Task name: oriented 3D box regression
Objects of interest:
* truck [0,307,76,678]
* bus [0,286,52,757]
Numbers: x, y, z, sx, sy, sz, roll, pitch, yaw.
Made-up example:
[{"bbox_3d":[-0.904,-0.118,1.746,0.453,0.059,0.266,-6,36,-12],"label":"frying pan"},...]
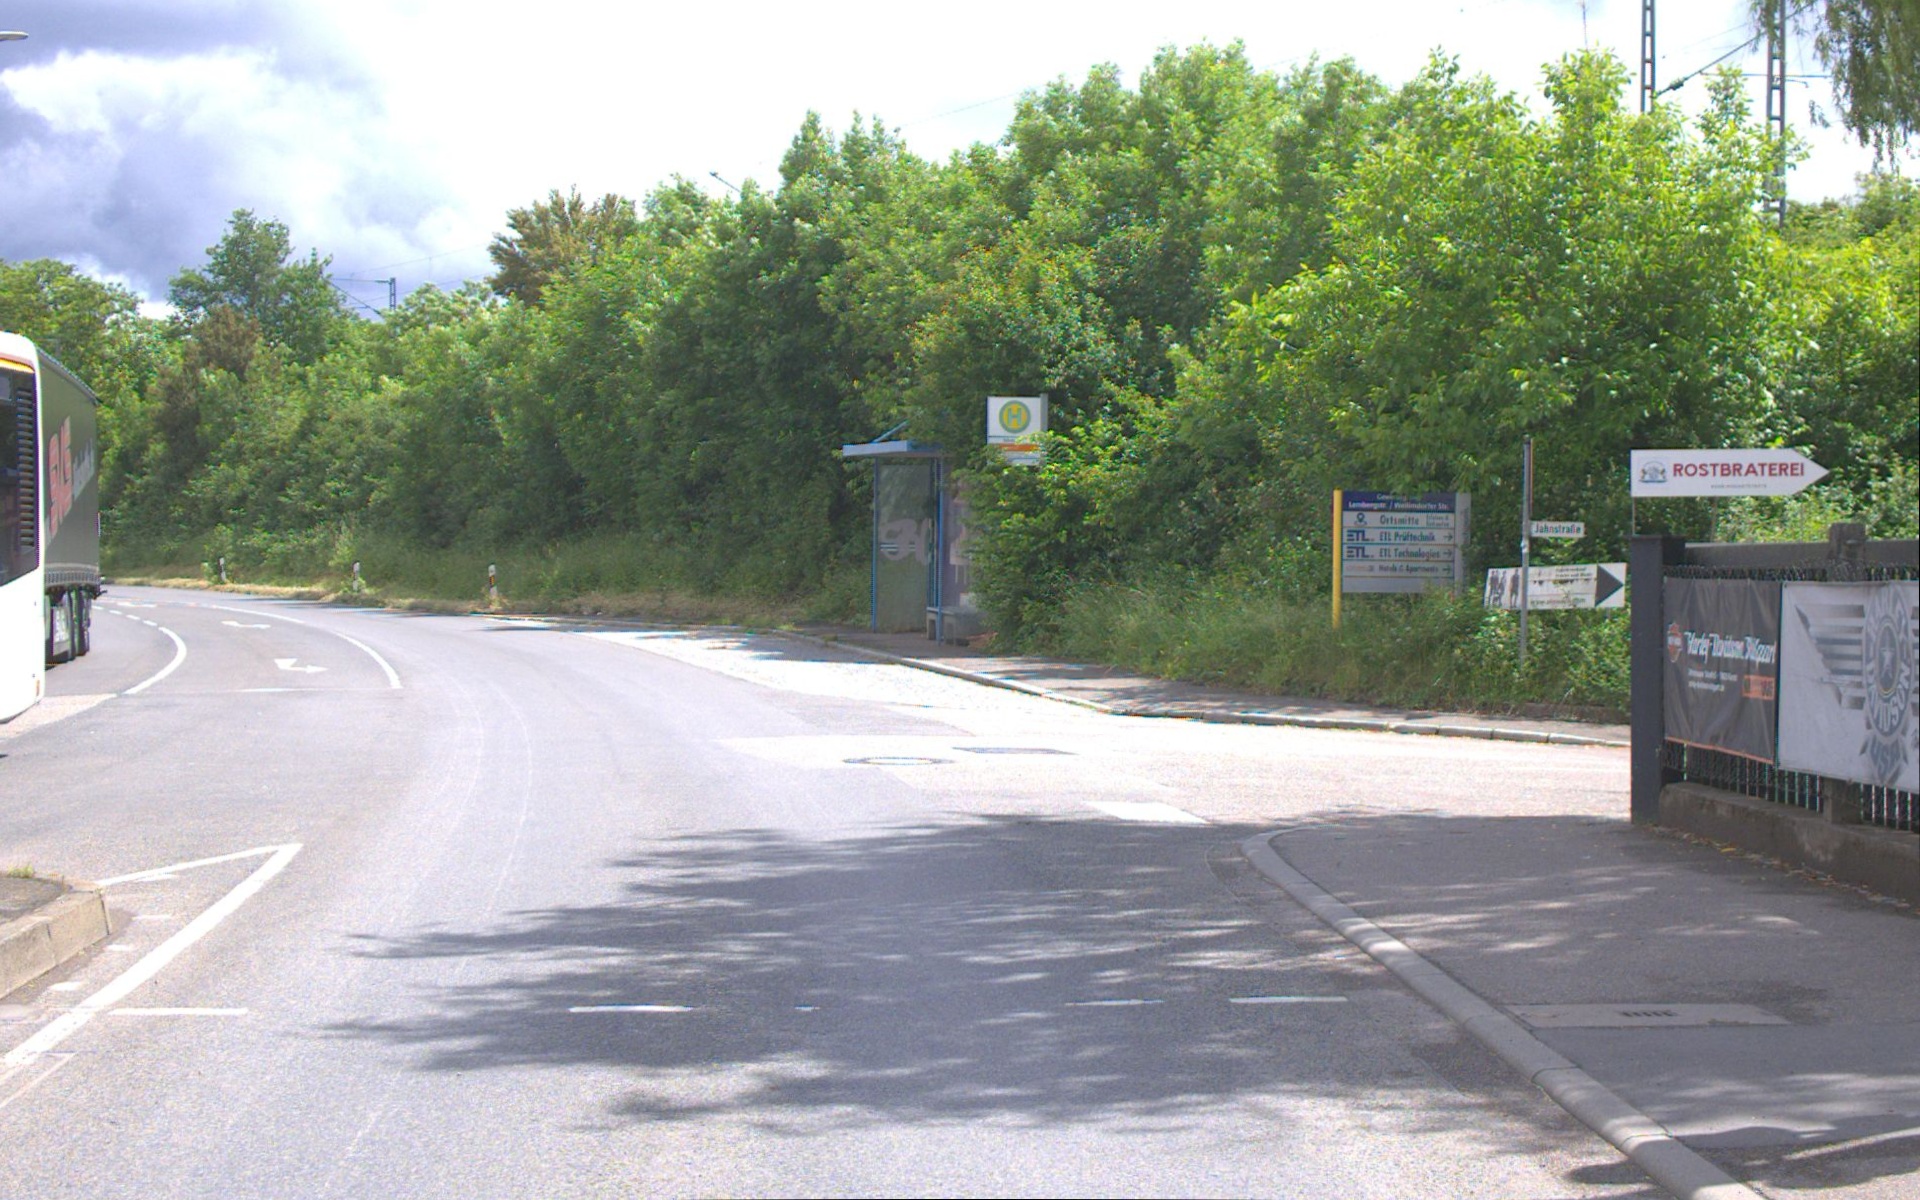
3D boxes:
[{"bbox_3d":[-12.190,-1.241,40.170,2.428,4.117,9.152,2,0,-8],"label":"truck"},{"bbox_3d":[-7.957,-0.473,19.062,2.777,3.255,12.124,-1,1,-1],"label":"bus"}]
